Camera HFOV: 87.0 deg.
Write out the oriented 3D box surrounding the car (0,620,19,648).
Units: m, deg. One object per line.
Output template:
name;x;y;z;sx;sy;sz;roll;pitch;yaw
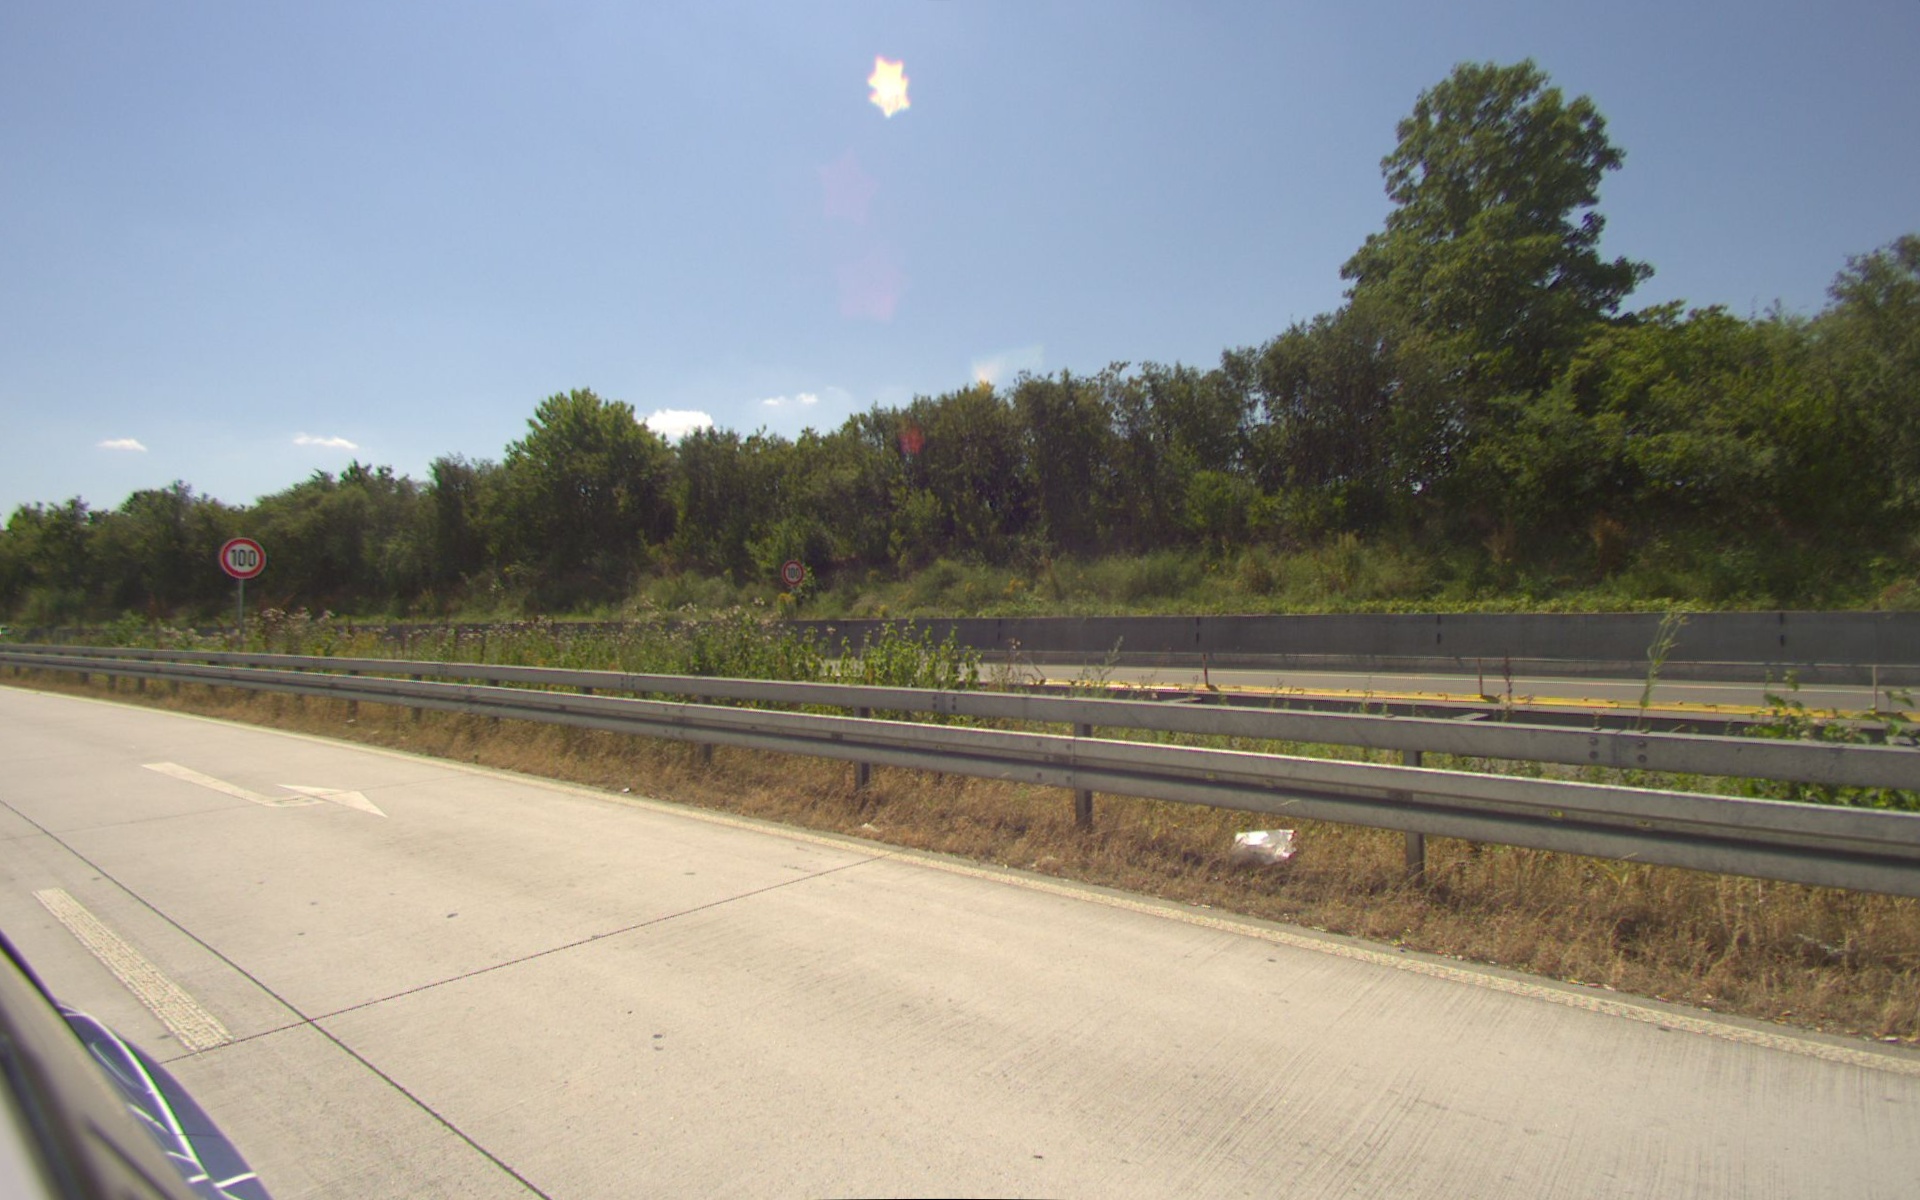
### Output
car;-53.558;1.877;55.524;4.591;1.458;1.857;-1;0;34
